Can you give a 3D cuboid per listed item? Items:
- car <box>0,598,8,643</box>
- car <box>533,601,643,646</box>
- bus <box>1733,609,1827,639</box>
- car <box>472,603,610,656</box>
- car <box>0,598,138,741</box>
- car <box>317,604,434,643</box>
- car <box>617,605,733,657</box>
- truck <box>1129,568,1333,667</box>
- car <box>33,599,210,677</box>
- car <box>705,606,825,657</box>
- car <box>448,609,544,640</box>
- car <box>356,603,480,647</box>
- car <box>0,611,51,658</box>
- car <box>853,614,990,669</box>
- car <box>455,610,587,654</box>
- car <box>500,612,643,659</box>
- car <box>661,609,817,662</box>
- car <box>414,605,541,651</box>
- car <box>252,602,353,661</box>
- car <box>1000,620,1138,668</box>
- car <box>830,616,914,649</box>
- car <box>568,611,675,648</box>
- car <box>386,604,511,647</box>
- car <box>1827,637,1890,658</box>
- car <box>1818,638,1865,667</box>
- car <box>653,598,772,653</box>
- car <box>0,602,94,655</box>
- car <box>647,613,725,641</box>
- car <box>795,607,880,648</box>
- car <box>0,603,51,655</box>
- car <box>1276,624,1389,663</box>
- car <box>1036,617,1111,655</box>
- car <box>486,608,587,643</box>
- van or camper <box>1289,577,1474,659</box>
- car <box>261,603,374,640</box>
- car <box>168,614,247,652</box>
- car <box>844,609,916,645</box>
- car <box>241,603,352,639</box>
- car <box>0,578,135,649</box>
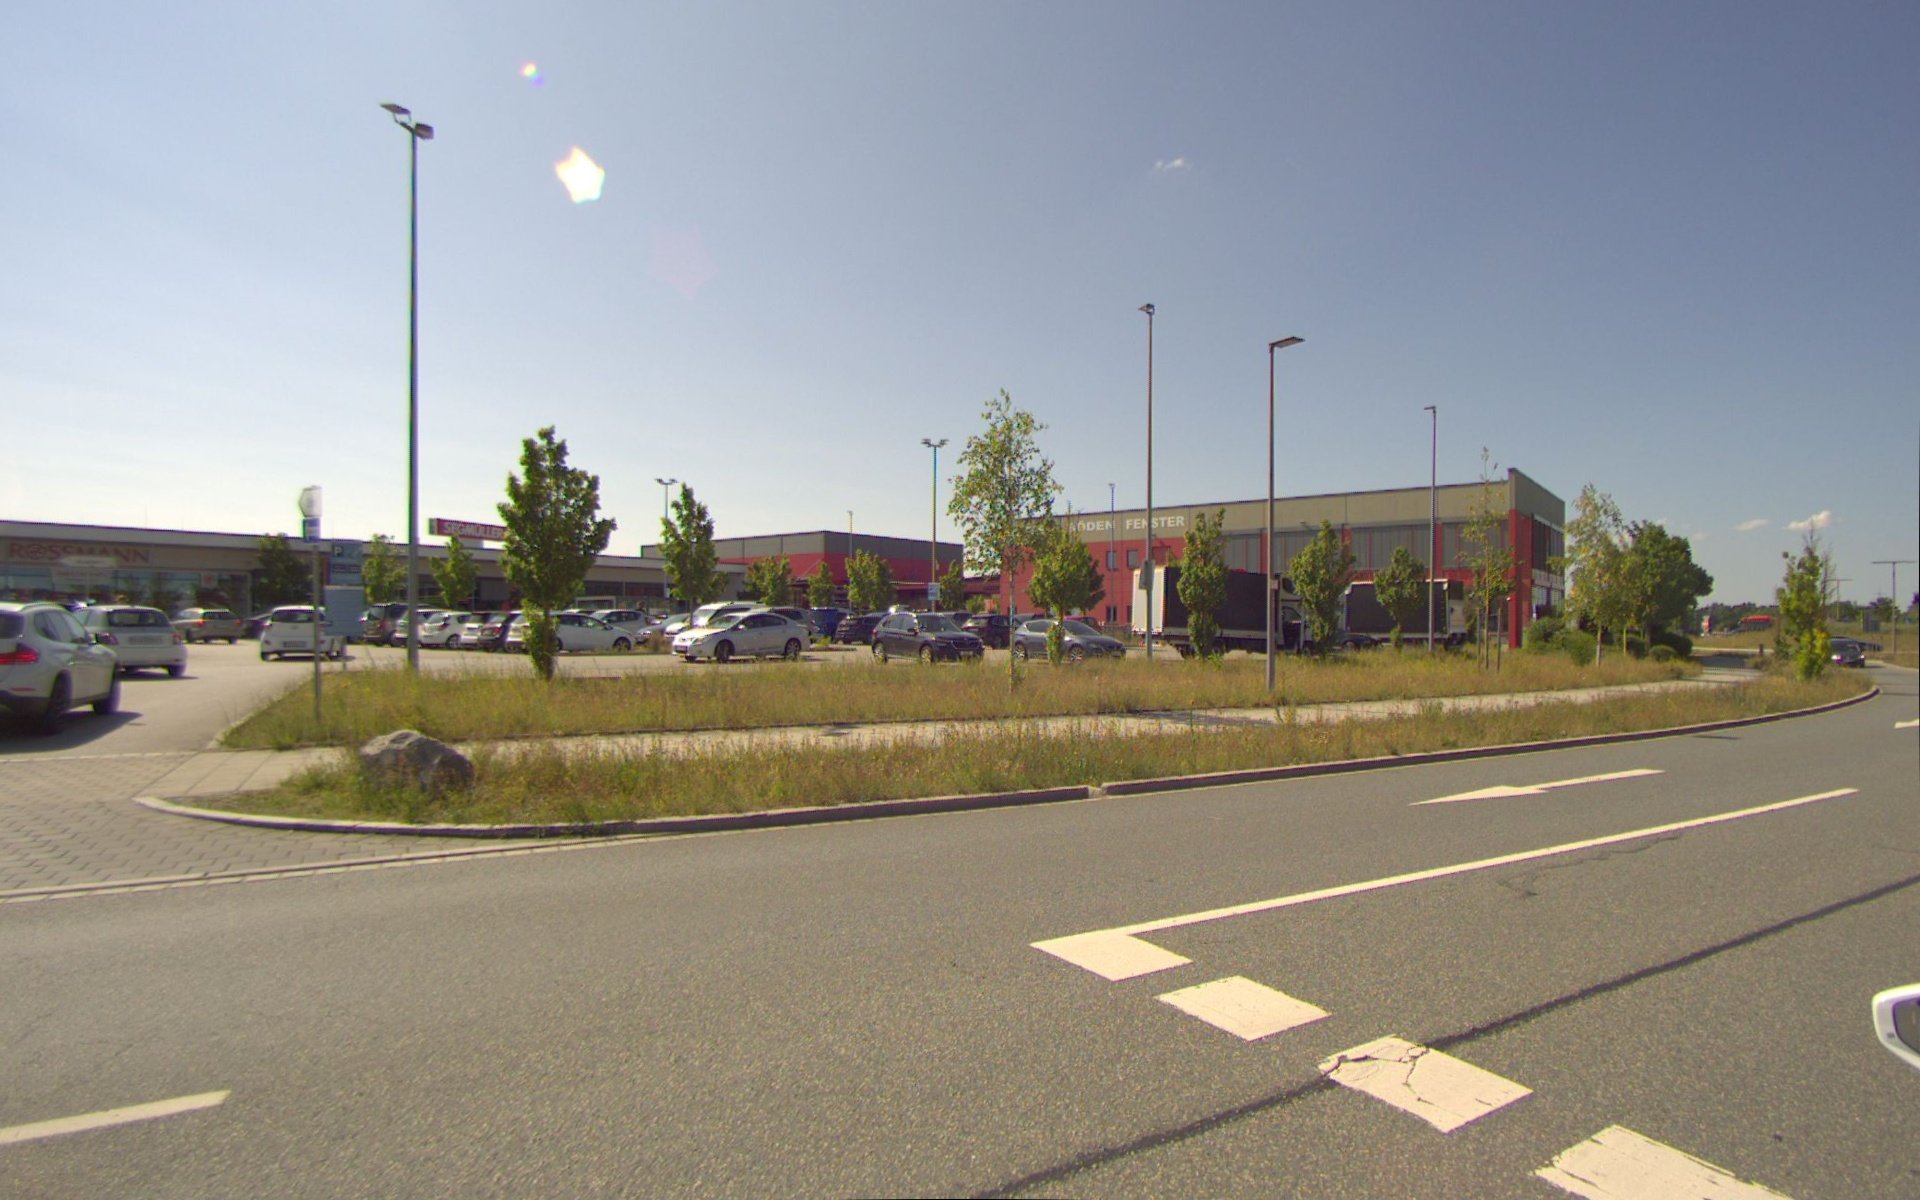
[{"bbox_3d":[-44.204,0.890,43.327,1.690,1.984,4.337,-1,-2,38],"label":"car"},{"bbox_3d":[-17.531,1.128,47.497,1.810,2.051,4.613,0,-2,39],"label":"car"},{"bbox_3d":[94.284,2.694,115.426,12.020,3.120,2.783,-1,-1,-21],"label":"bus"},{"bbox_3d":[-15.451,1.093,37.220,1.888,1.827,4.362,0,-2,39],"label":"car"},{"bbox_3d":[-12.008,0.784,12.604,1.895,1.568,4.193,2,-2,-30],"label":"car"},{"bbox_3d":[-27.447,1.138,47.298,1.886,1.747,4.368,0,-2,35],"label":"car"},{"bbox_3d":[-11.696,1.297,41.507,1.810,2.024,4.362,0,-2,39],"label":"car"},{"bbox_3d":[10.256,0.715,37.980,7.376,3.510,2.315,1,-1,-18],"label":"truck"},{"bbox_3d":[-18.493,0.800,22.115,3.932,1.568,1.912,0,-2,33],"label":"car"},{"bbox_3d":[-7.399,1.210,38.432,1.810,1.847,4.362,0,-2,39],"label":"car"},{"bbox_3d":[-25.115,1.364,54.504,1.810,1.613,4.362,0,-2,39],"label":"car"},{"bbox_3d":[-23.610,1.107,43.910,1.886,1.817,4.368,0,-2,35],"label":"car"},{"bbox_3d":[-34.026,1.175,34.199,1.690,1.596,4.337,-1,-2,38],"label":"car"},{"bbox_3d":[-1.215,1.183,29.401,1.820,1.477,4.544,2,-2,-36],"label":"car"},{"bbox_3d":[-17.123,1.247,39.372,1.888,1.639,4.362,0,-2,39],"label":"car"},{"bbox_3d":[-13.543,1.227,35.254,1.810,1.532,4.362,0,-2,39],"label":"car"},{"bbox_3d":[-6.814,1.100,31.329,1.811,1.532,4.599,0,-2,40],"label":"car"},{"bbox_3d":[-19.587,1.141,40.941,1.883,1.740,4.375,0,-2,29],"label":"car"},{"bbox_3d":[-18.881,0.892,29.022,1.892,1.568,3.974,1,-2,-26],"label":"car"},{"bbox_3d":[3.409,1.359,32.196,1.956,1.402,4.393,2,-2,-36],"label":"car"},{"bbox_3d":[-4.400,1.653,50.690,1.808,1.583,4.366,0,-2,37],"label":"car"},{"bbox_3d":[-15.395,1.353,45.848,1.810,1.603,4.362,0,-2,39],"label":"car"},{"bbox_3d":[-21.607,1.086,42.614,1.885,1.749,4.370,0,-2,33],"label":"car"},{"bbox_3d":[72.270,3.809,80.821,3.747,1.537,1.763,-1,-2,44],"label":"car"},{"bbox_3d":[58.008,3.430,66.178,1.927,1.818,4.410,-2,-3,37],"label":"car"},{"bbox_3d":[-9.794,1.029,39.985,1.810,2.092,4.362,0,-2,39],"label":"car"},{"bbox_3d":[-29.834,0.884,31.091,1.690,1.602,4.337,-1,-2,38],"label":"car"},{"bbox_3d":[-16.583,1.631,60.933,1.810,1.644,4.362,0,-2,39],"label":"car"},{"bbox_3d":[-6.350,1.434,52.311,1.810,2.021,4.362,0,-2,39],"label":"car"},{"bbox_3d":[-35.944,1.045,36.318,1.690,1.876,4.337,-1,-2,38],"label":"car"},{"bbox_3d":[16.349,1.875,44.230,4.320,1.572,1.828,-1,-2,43],"label":"car"},{"bbox_3d":[5.786,1.809,50.717,1.808,1.796,4.366,0,-2,37],"label":"car"},{"bbox_3d":[-21.267,1.311,50.561,1.810,1.689,4.362,0,-2,39],"label":"car"},{"bbox_3d":[19.535,0.841,46.927,7.612,3.514,2.540,-1,-2,44],"label":"van or camper"},{"bbox_3d":[-32.118,1.113,50.304,1.886,1.762,4.368,0,-2,35],"label":"car"},{"bbox_3d":[-32.829,1.407,43.802,3.938,1.568,1.832,0,-2,39],"label":"car"},{"bbox_3d":[-4.696,1.614,59.387,1.808,2.021,4.366,0,-2,37],"label":"car"},{"bbox_3d":[-34.161,1.100,51.809,1.886,1.783,4.368,0,-2,35],"label":"car"},{"bbox_3d":[-27.617,0.405,29.635,1.690,2.012,4.815,-1,-2,38],"label":"car"}]
